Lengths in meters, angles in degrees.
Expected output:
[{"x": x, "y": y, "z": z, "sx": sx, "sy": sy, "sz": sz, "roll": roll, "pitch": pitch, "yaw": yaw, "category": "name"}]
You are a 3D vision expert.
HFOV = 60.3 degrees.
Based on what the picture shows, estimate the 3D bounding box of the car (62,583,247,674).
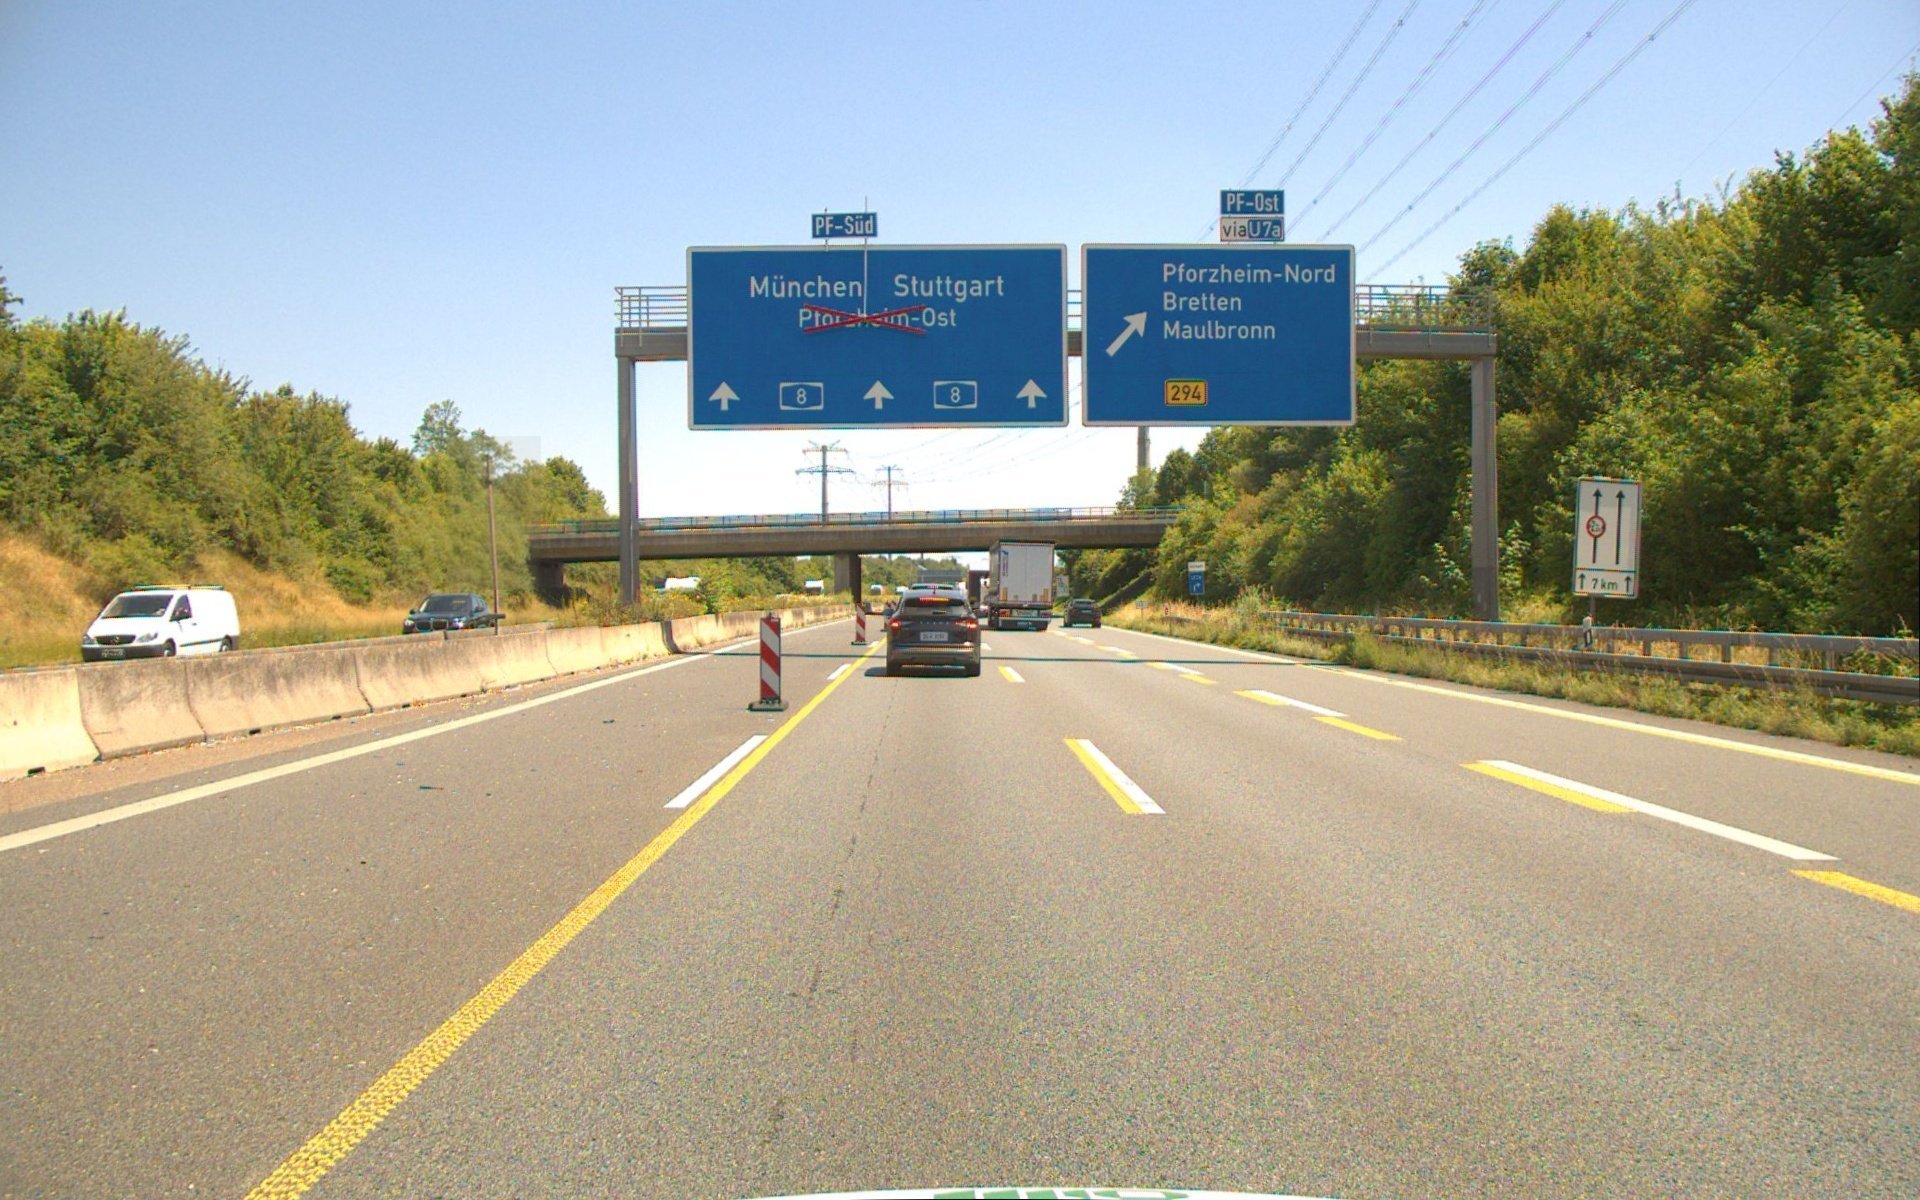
[{"x": -19.596, "y": 0.642, "z": 40.549, "sx": 1.891, "sy": 2.049, "sz": 5.595, "roll": -1, "pitch": 0, "yaw": -1, "category": "car"}]

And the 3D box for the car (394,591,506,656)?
[{"x": -14.493, "y": 0.633, "z": 47.220, "sx": 1.834, "sy": 1.724, "sz": 4.497, "roll": -1, "pitch": 0, "yaw": -1, "category": "car"}]

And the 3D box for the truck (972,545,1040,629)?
[{"x": 2.301, "y": -0.680, "z": 86.016, "sx": 2.964, "sy": 4.159, "sz": 7.792, "roll": 0, "pitch": 0, "yaw": -2, "category": "truck"}]

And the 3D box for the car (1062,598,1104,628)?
[{"x": 6.459, "y": 0.676, "z": 87.096, "sx": 1.743, "sy": 1.515, "sz": 4.463, "roll": 1, "pitch": 0, "yaw": -1, "category": "car"}]

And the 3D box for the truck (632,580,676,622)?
[{"x": -24.836, "y": 0.078, "z": 134.381, "sx": 2.445, "sy": 3.316, "sz": 6.363, "roll": -1, "pitch": 0, "yaw": -1, "category": "truck"}]

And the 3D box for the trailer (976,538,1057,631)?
[{"x": 2.570, "y": -0.699, "z": 79.215, "sx": 3.004, "sy": 4.113, "sz": 11.482, "roll": 0, "pitch": 0, "yaw": -2, "category": "trailer"}]

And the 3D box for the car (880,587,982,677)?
[{"x": -0.603, "y": 0.576, "z": 32.568, "sx": 1.857, "sy": 1.620, "sz": 4.441, "roll": -1, "pitch": 1, "yaw": -2, "category": "car"}]

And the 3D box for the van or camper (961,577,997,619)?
[{"x": 1.393, "y": -0.184, "z": 123.154, "sx": 2.533, "sy": 3.020, "sz": 6.084, "roll": 1, "pitch": 0, "yaw": 0, "category": "van or camper"}]

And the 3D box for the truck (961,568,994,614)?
[{"x": 1.623, "y": -0.832, "z": 159.835, "sx": 3.015, "sy": 4.219, "sz": 13.053, "roll": 1, "pitch": 0, "yaw": 0, "category": "truck"}]

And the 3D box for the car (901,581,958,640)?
[{"x": -1.109, "y": 0.322, "z": 57.919, "sx": 1.857, "sy": 1.873, "sz": 4.441, "roll": 2, "pitch": 1, "yaw": -2, "category": "car"}]

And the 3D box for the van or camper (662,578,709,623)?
[{"x": -20.657, "y": 0.024, "z": 124.931, "sx": 2.386, "sy": 3.202, "sz": 7.625, "roll": -1, "pitch": 0, "yaw": -1, "category": "van or camper"}]
